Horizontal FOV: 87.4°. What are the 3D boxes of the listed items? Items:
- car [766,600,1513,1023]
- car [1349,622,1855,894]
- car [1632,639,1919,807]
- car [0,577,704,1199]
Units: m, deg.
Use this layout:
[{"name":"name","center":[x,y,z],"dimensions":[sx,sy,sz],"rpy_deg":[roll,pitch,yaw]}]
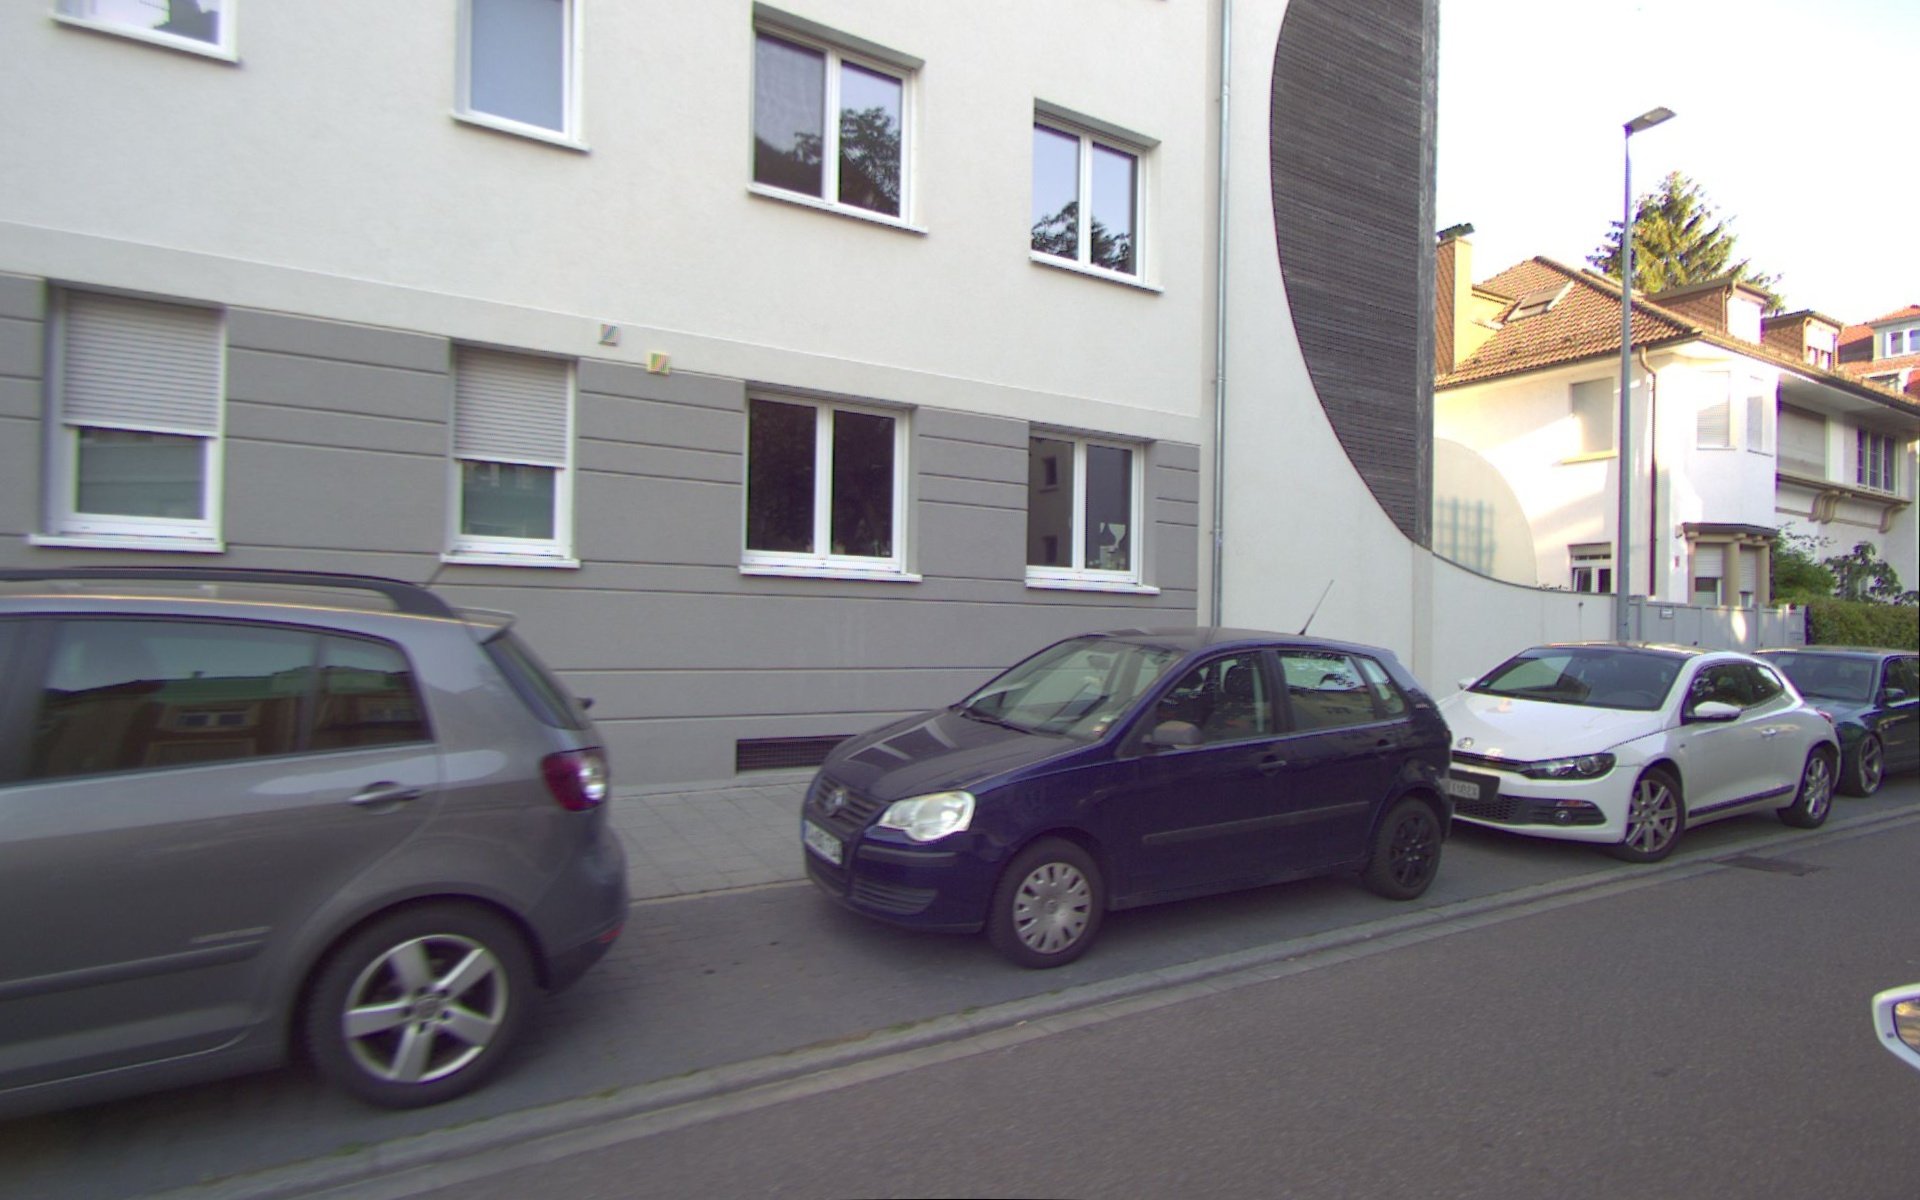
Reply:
[{"name":"car","center":[1.153,0.872,5.751],"dimensions":[4.047,1.612,1.873],"rpy_deg":[2,-2,-33]},{"name":"car","center":[5.123,1.009,7.890],"dimensions":[4.047,1.612,1.873],"rpy_deg":[2,-2,-33]},{"name":"car","center":[9.285,1.198,10.804],"dimensions":[4.091,1.466,1.751],"rpy_deg":[2,-1,-29]},{"name":"car","center":[-3.087,0.756,3.148],"dimensions":[4.047,1.612,1.873],"rpy_deg":[2,-2,-33]}]
